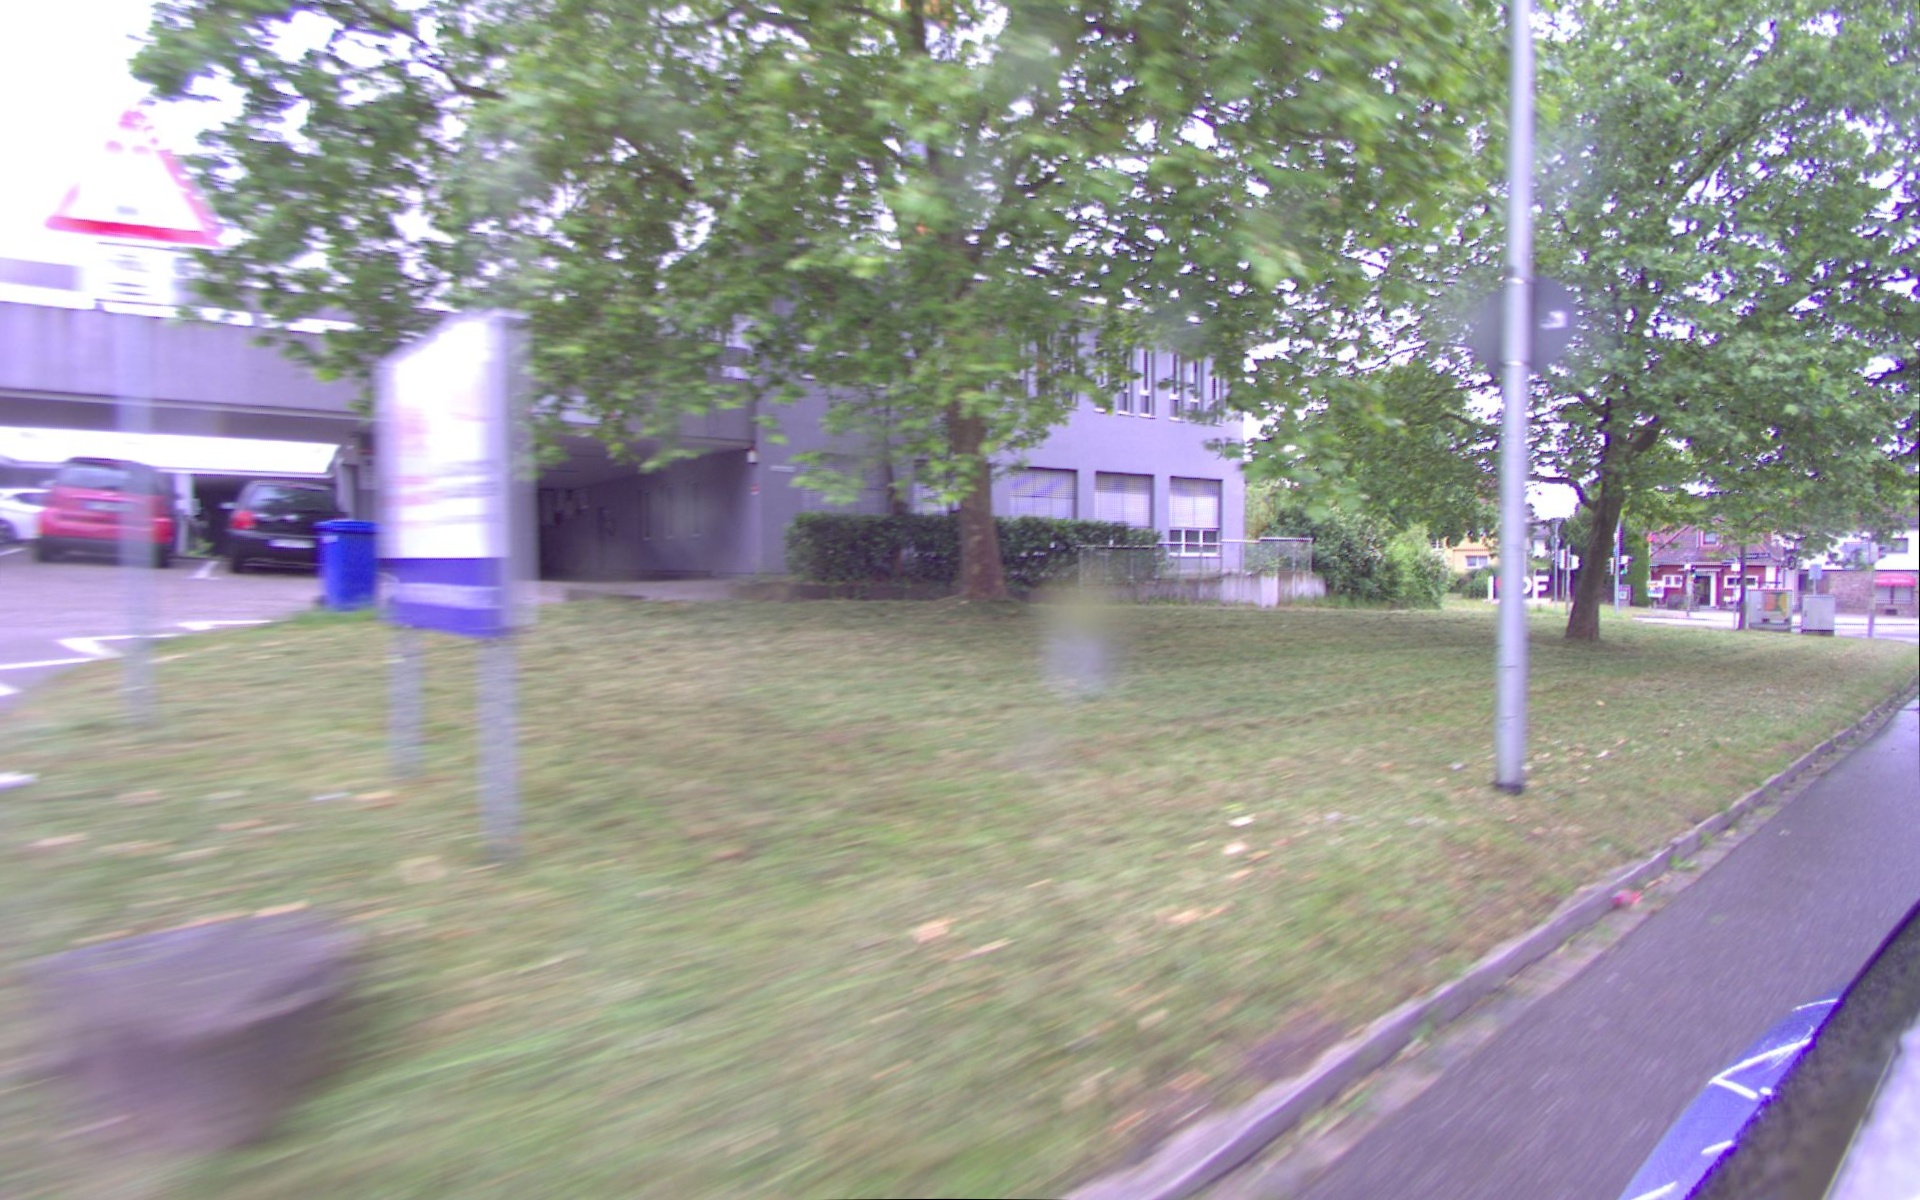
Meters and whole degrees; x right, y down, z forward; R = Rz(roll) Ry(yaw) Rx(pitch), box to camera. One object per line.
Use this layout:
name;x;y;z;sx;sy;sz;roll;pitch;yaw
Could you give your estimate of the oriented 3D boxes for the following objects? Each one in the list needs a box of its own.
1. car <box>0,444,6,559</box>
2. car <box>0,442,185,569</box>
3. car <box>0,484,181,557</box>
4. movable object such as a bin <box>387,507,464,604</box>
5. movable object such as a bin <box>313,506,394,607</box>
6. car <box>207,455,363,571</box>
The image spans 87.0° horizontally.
car;-14.848;-1.476;13.857;1.962;1.771;4.002;0;2;-34
car;-13.487;-1.364;15.958;1.923;1.682;3.999;1;1;-37
car;-22.571;-2.025;25.885;3.919;1.659;1.932;1;3;-29
movable object such as a bin;-6.569;-0.534;12.435;0.668;1.134;0.652;-2;-1;44
movable object such as a bin;-7.105;-0.493;11.860;0.668;1.134;0.652;-2;-1;44
car;-11.290;-1.348;16.977;1.962;1.660;4.002;0;2;-34
